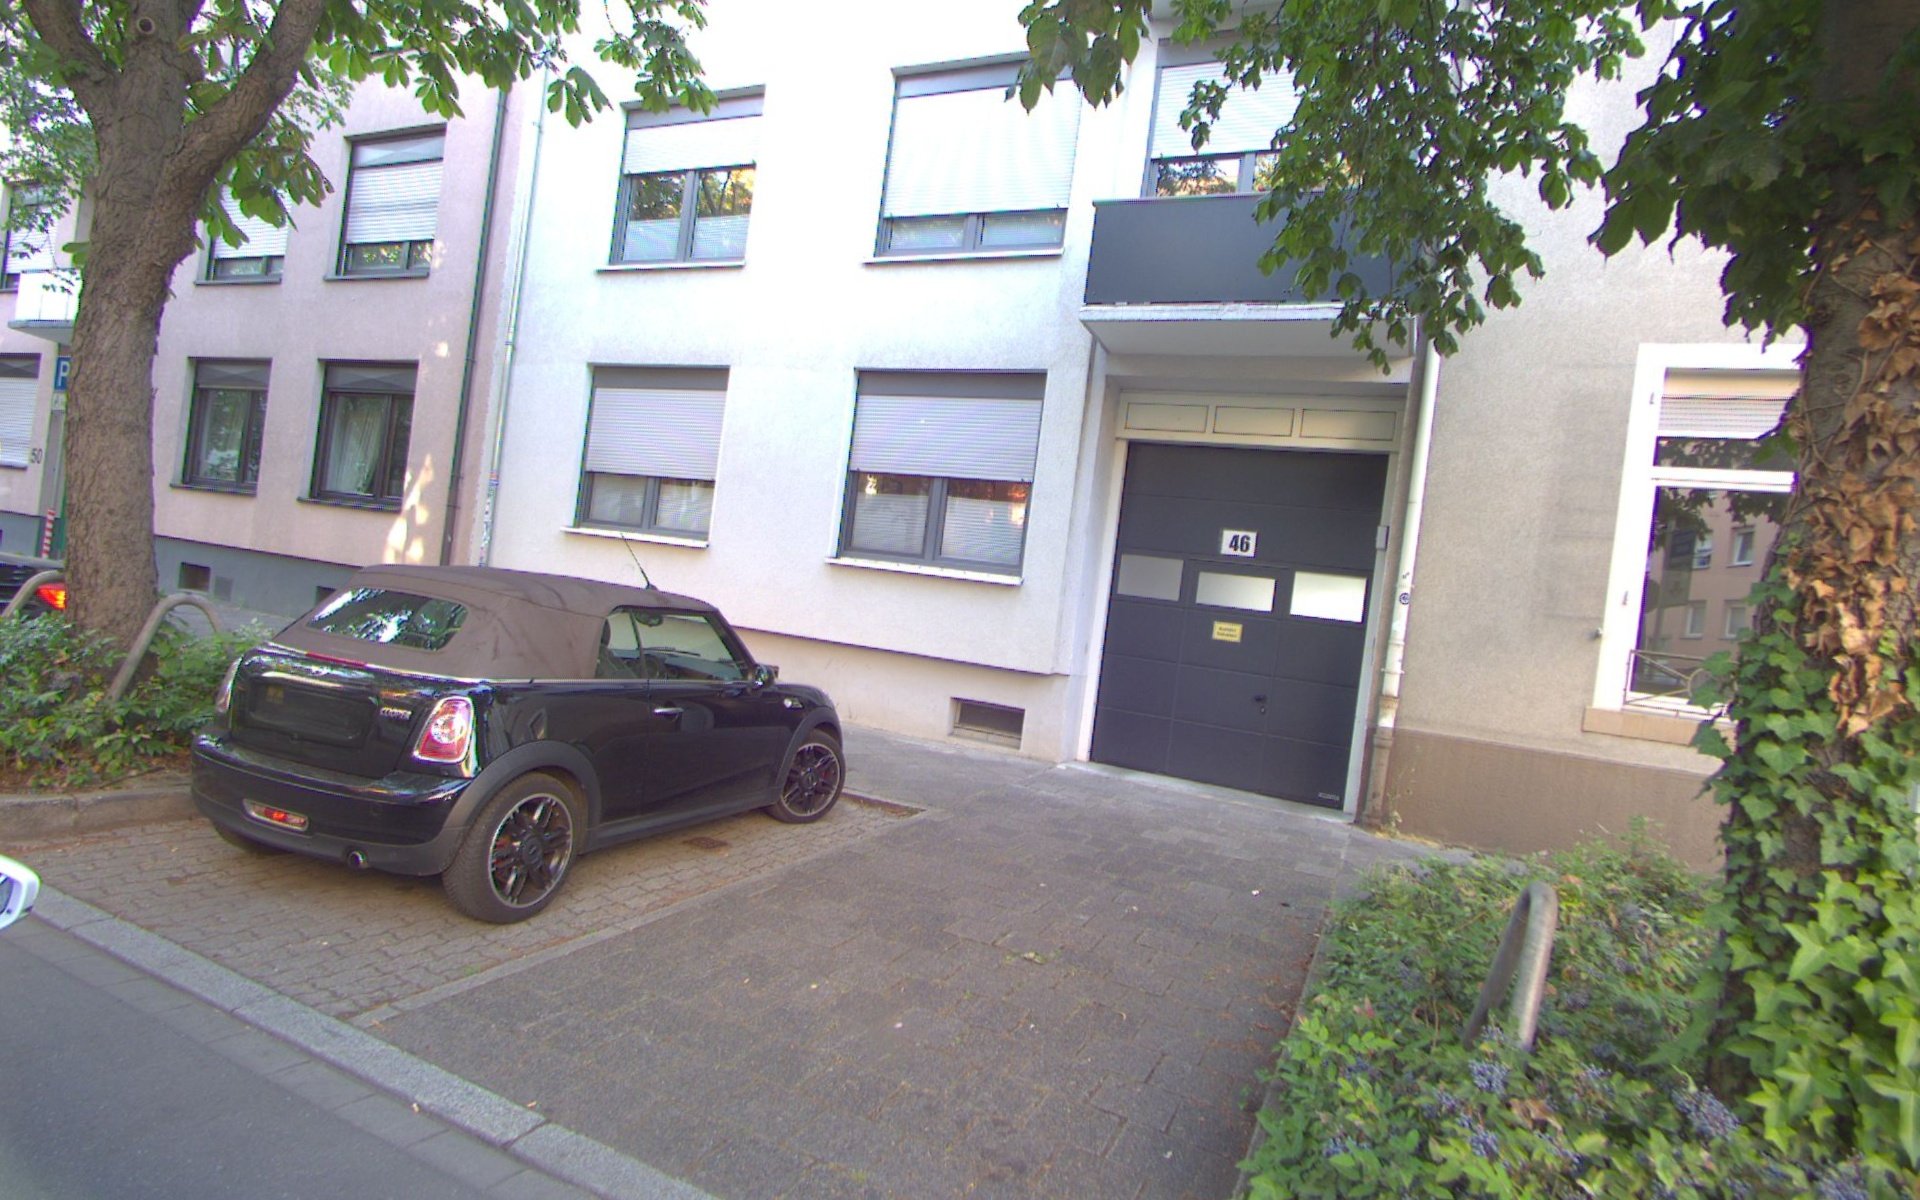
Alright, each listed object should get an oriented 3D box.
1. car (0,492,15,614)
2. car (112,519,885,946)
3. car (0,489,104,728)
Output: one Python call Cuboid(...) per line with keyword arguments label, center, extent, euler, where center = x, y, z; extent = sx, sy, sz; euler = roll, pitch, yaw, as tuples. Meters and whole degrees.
Cuboid(label="car", center=(-13.345, -0.793, 11.042), extent=(1.634, 1.494, 3.921), euler=(7, -1, 24))
Cuboid(label="car", center=(-2.014, 0.558, 5.531), extent=(1.634, 1.380, 3.622), euler=(7, -1, 22))
Cuboid(label="car", center=(-7.830, -0.198, 5.257), extent=(1.772, 1.497, 4.747), euler=(7, -1, 36))
